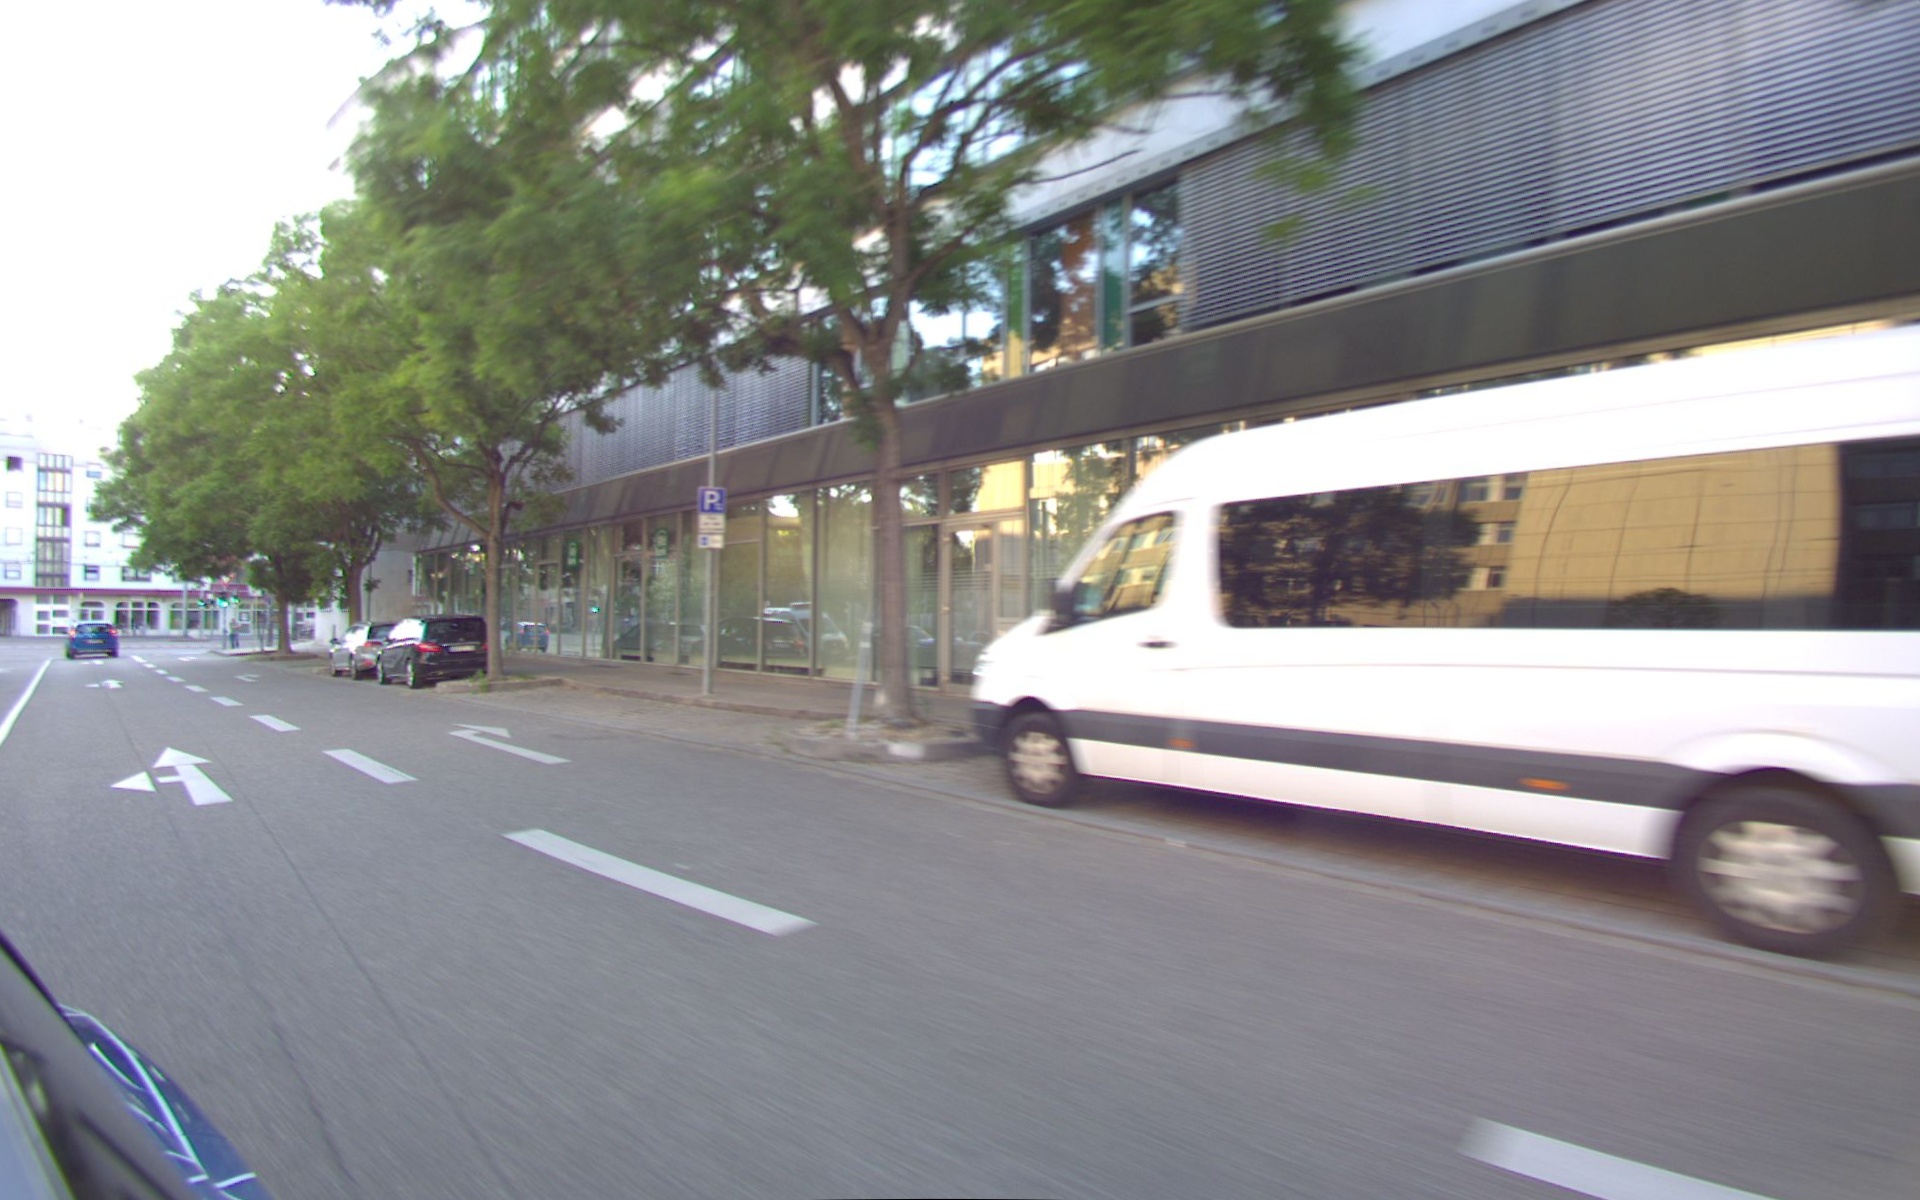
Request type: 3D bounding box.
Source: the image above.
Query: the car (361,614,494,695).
[{"bbox_3d":[-12.055,1.153,22.765,1.570,1.580,4.477,-3,1,-42],"label":"car"}]

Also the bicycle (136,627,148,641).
[{"bbox_3d":[-65.811,2.723,81.424,0.508,1.054,1.904,2,-2,-44],"label":"bicycle"}]

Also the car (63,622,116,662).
[{"bbox_3d":[-39.143,1.834,45.504,1.726,1.691,4.279,0,-1,-41],"label":"car"}]

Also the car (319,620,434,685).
[{"bbox_3d":[-15.501,1.326,26.751,1.683,1.472,4.632,-3,1,-42],"label":"car"}]

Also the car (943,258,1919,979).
[{"bbox_3d":[2.937,0.112,6.058,2.074,2.684,6.960,1,-2,-41],"label":"car"}]

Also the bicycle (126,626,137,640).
[{"bbox_3d":[-66.449,2.644,81.165,0.508,1.054,1.904,2,-2,-44],"label":"bicycle"}]

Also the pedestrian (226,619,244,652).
[{"bbox_3d":[-38.385,1.873,53.570,0.537,1.714,0.709,1,-1,-15],"label":"pedestrian"}]

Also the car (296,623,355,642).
[{"bbox_3d":[-53.662,2.741,85.634,4.039,1.608,1.668,2,-2,-42],"label":"car"}]

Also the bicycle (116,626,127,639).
[{"bbox_3d":[-66.905,2.611,80.790,0.508,1.054,1.904,2,-2,-44],"label":"bicycle"}]
